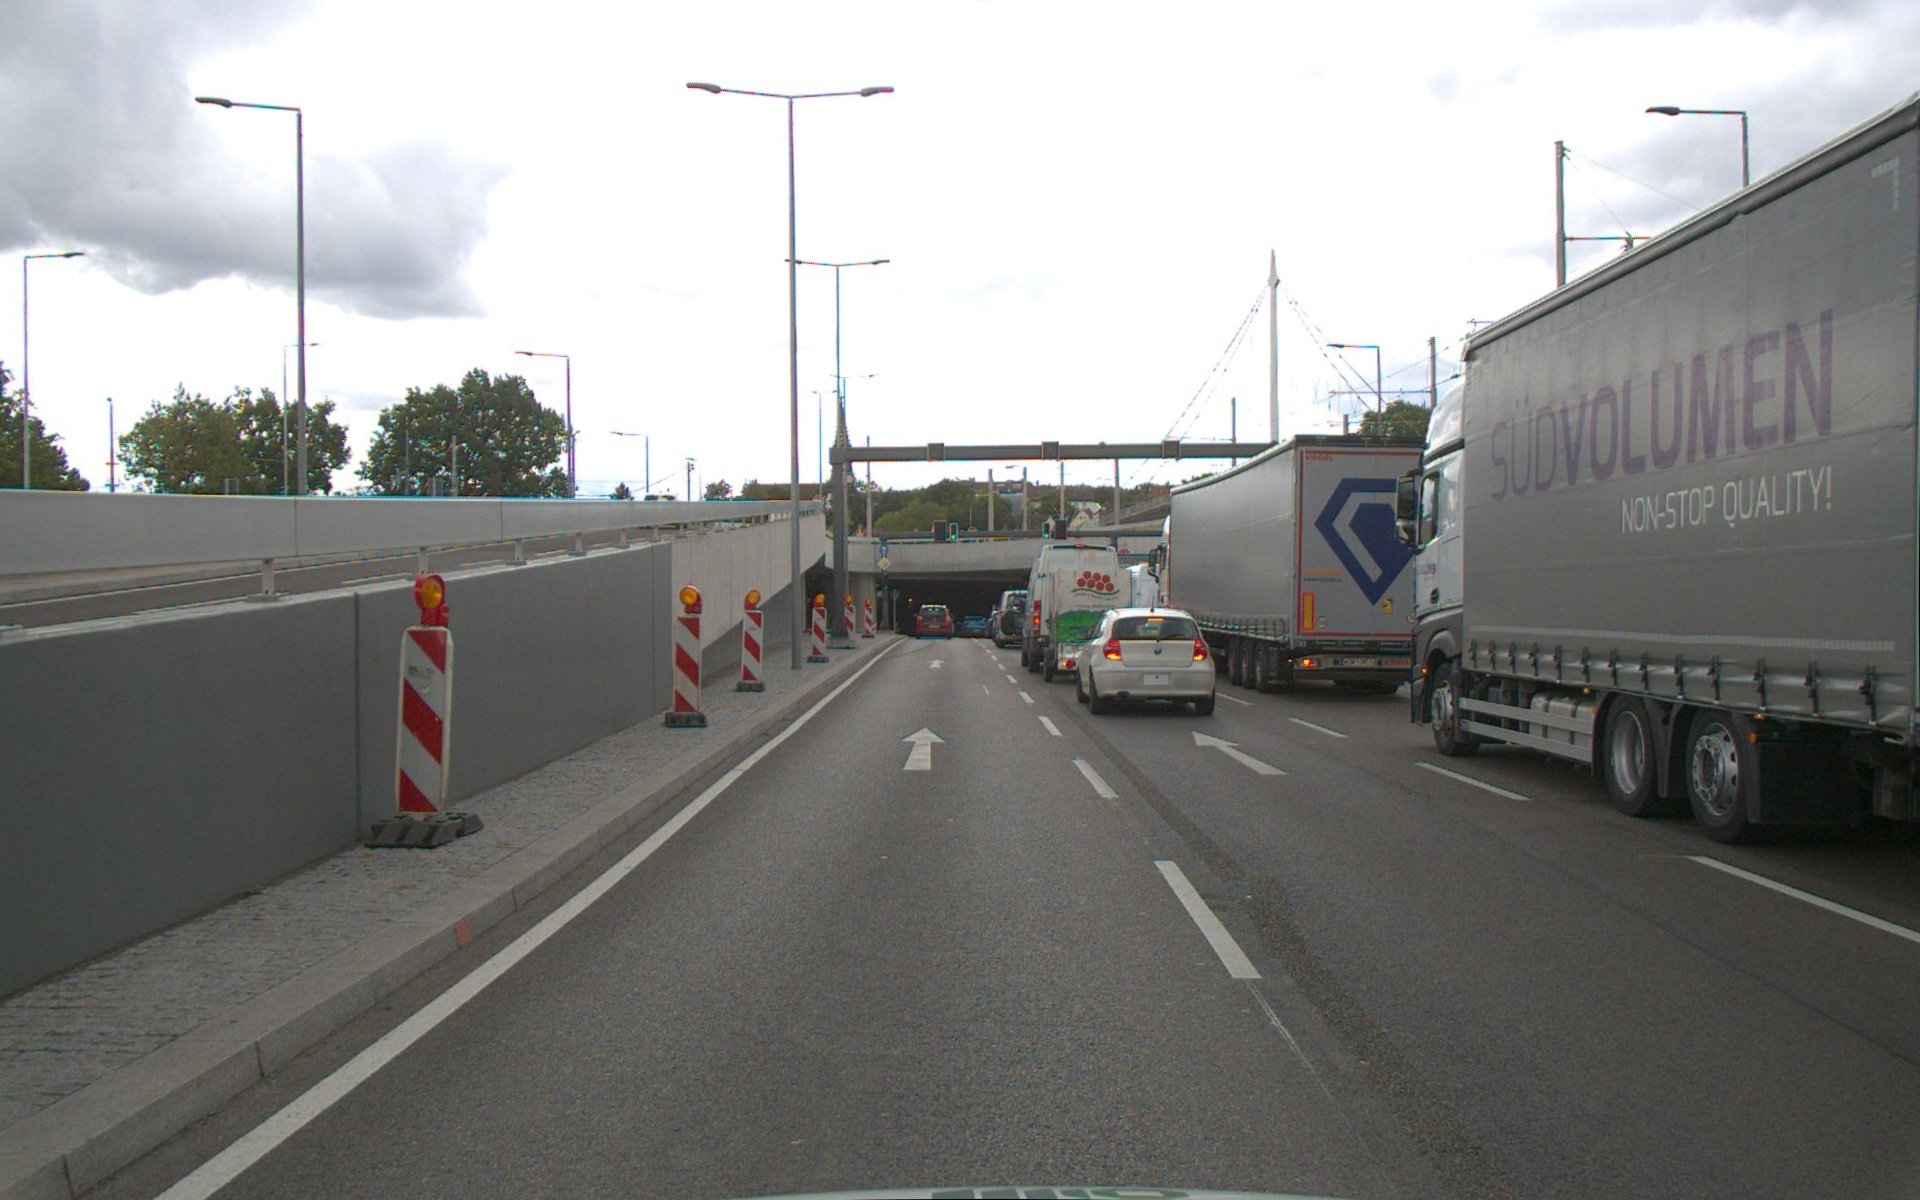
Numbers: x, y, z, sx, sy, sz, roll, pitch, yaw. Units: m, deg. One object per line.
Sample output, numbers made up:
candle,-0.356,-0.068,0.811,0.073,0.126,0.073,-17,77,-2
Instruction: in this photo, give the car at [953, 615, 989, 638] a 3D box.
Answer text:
car,0.703,1.770,111.691,1.955,1.411,3.994,0,0,-6

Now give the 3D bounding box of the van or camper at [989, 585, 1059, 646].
van or camper,2.098,0.567,55.494,1.953,1.878,5.505,1,-2,-2

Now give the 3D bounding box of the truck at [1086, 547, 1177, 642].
truck,6.220,-0.152,60.928,2.595,3.241,7.425,-1,-1,0

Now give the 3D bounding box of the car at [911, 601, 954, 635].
car,-1.306,0.855,76.746,1.628,1.514,3.561,0,-2,-7

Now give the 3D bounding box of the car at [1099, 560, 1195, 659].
car,5.694,0.254,51.386,2.033,2.821,7.324,0,0,-1

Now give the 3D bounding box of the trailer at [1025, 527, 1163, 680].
trailer,2.550,0.081,32.664,2.061,2.685,4.808,3,-1,-2

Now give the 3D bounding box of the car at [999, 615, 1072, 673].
car,2.212,1.279,49.309,1.649,1.572,3.688,2,0,-6

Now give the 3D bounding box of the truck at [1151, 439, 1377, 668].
truck,6.772,-0.977,38.225,3.727,4.712,7.441,1,0,-1

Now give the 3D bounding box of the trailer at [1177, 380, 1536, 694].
trailer,6.836,-0.968,31.238,3.727,4.712,12.112,1,0,-1

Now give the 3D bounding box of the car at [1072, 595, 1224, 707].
car,2.631,0.689,24.053,1.681,1.422,4.347,2,0,0

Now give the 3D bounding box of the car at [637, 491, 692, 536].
car,-11.676,-3.398,65.560,1.710,1.457,3.772,3,-1,-5

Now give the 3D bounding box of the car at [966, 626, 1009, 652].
car,1.336,1.950,82.633,1.632,1.269,3.560,0,-2,-8

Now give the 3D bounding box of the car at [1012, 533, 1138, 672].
car,2.408,0.082,36.313,2.017,2.674,5.939,3,-1,-2

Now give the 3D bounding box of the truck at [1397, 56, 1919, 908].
truck,6.643,-0.568,12.958,3.647,4.214,10.984,1,0,1
